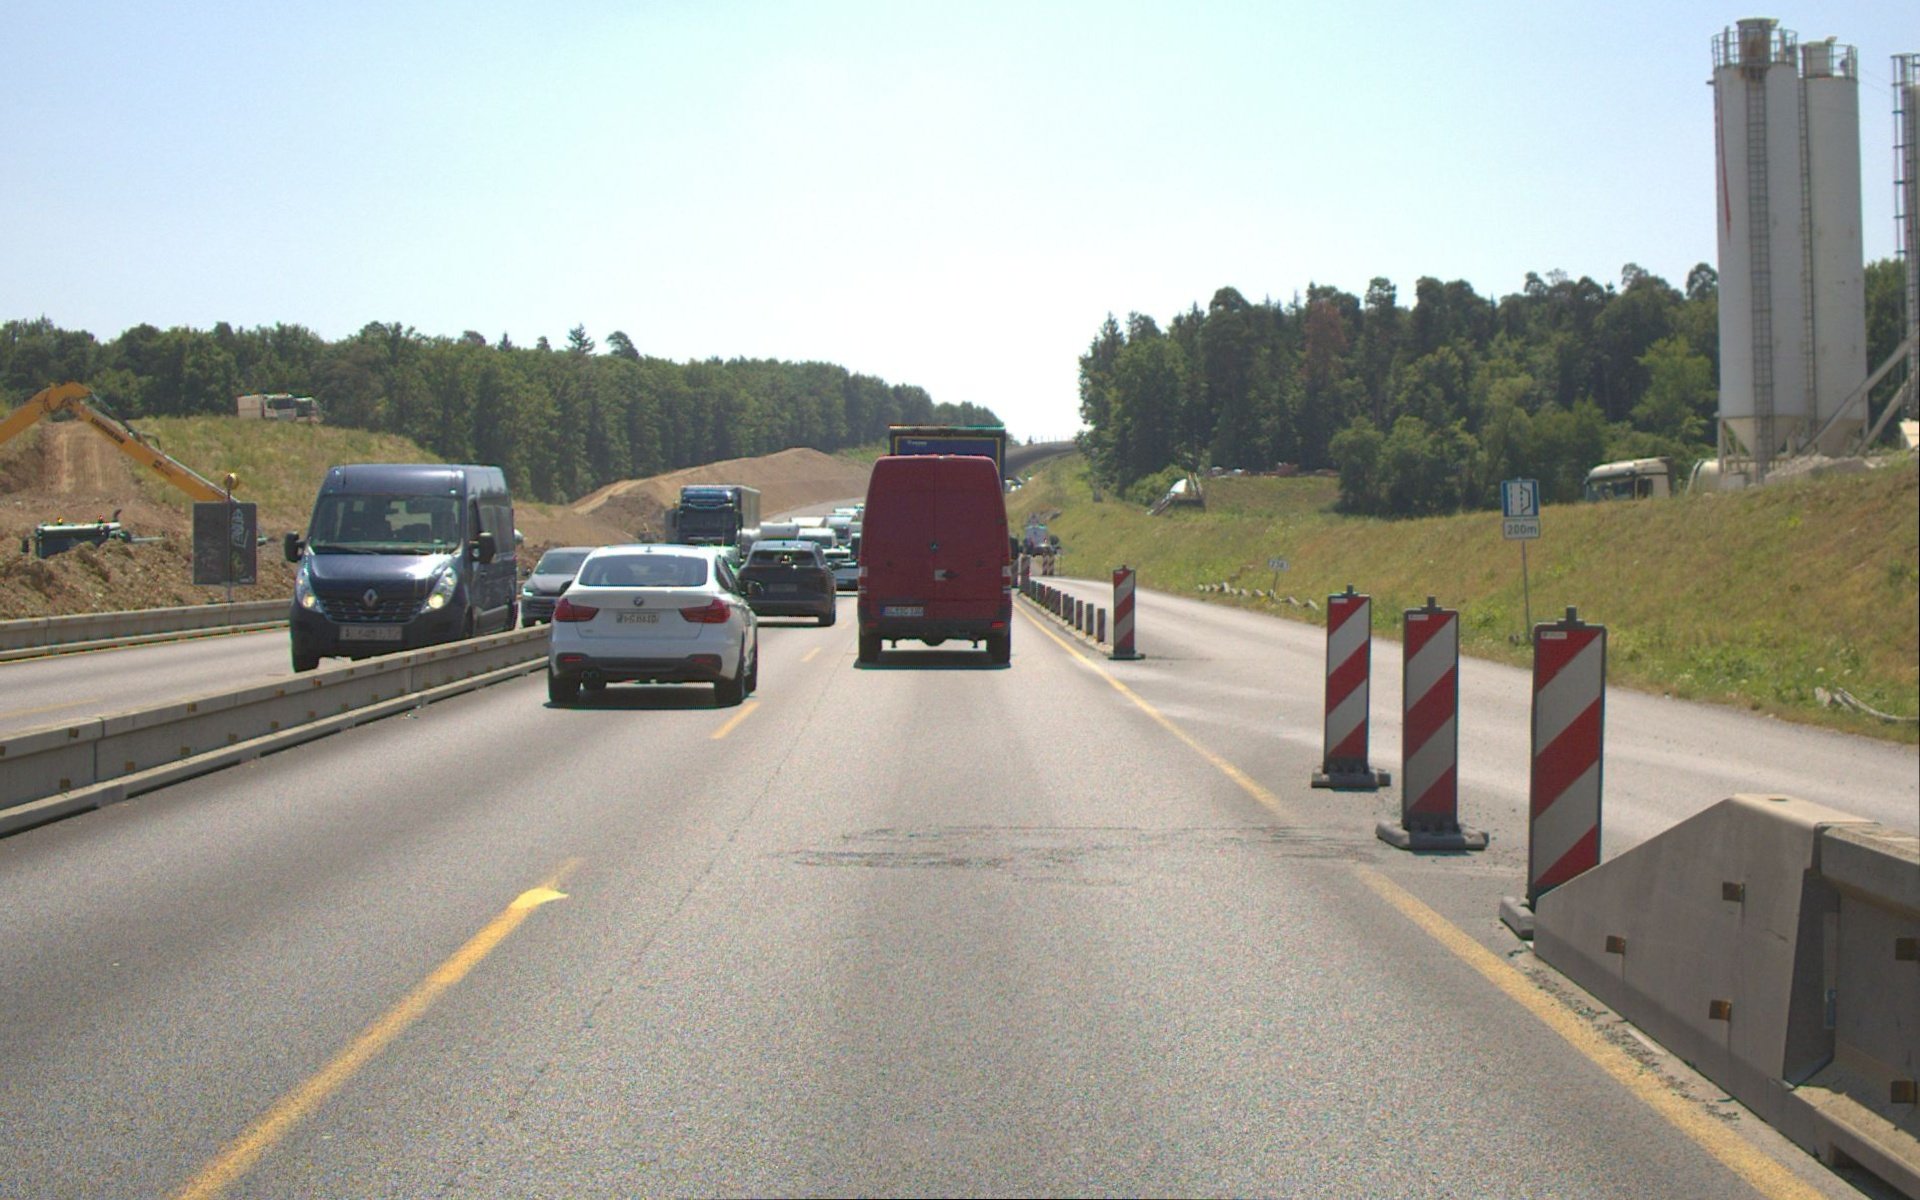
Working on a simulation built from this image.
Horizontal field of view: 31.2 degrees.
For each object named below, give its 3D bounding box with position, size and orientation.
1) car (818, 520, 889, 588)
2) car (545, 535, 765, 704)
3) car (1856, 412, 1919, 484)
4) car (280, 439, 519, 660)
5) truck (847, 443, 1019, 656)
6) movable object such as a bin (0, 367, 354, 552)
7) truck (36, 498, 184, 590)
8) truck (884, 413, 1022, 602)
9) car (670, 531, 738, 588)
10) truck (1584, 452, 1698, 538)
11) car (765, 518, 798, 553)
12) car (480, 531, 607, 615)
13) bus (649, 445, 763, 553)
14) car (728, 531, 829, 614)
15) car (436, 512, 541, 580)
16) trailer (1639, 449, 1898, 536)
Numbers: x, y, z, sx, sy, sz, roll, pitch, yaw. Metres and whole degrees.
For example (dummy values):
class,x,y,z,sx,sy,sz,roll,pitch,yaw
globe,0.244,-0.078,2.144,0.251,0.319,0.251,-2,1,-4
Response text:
class,x,y,z,sx,sy,sz,roll,pitch,yaw
car,-3.220,-1.409,104.575,1.993,2.007,4.000,0,1,0
car,-2.931,0.136,33.944,1.795,1.529,5.073,1,1,-1
car,27.924,-4.444,101.109,1.993,2.007,4.428,0,1,0
car,-6.603,-0.614,41.084,1.955,2.459,5.358,0,1,0
truck,-0.291,-0.689,45.991,2.111,2.624,6.484,0,1,1
movable object such as a bin,-33.869,-5.543,137.041,18.710,7.206,3.616,0,1,-2
truck,-25.186,-1.691,102.261,2.316,2.608,8.411,0,1,0
truck,-0.108,-2.118,79.729,3.015,4.138,8.272,0,1,1
car,-7.193,-1.159,97.018,1.602,1.574,4.168,0,1,0
truck,25.400,-3.872,128.053,2.899,3.102,6.004,0,1,24
car,-10.459,-3.797,201.445,1.763,2.007,3.827,0,1,0
car,-7.674,-0.518,63.676,1.786,1.471,4.524,1,1,0
bus,-10.930,-4.335,150.034,3.942,4.400,17.202,0,1,-1
car,-3.406,-0.543,65.149,1.795,1.529,3.931,0,1,-1
car,-10.393,-1.192,75.968,1.691,1.429,4.449,1,1,0
trailer,30.597,-4.061,130.166,8.993,3.218,3.332,-1,1,-14
